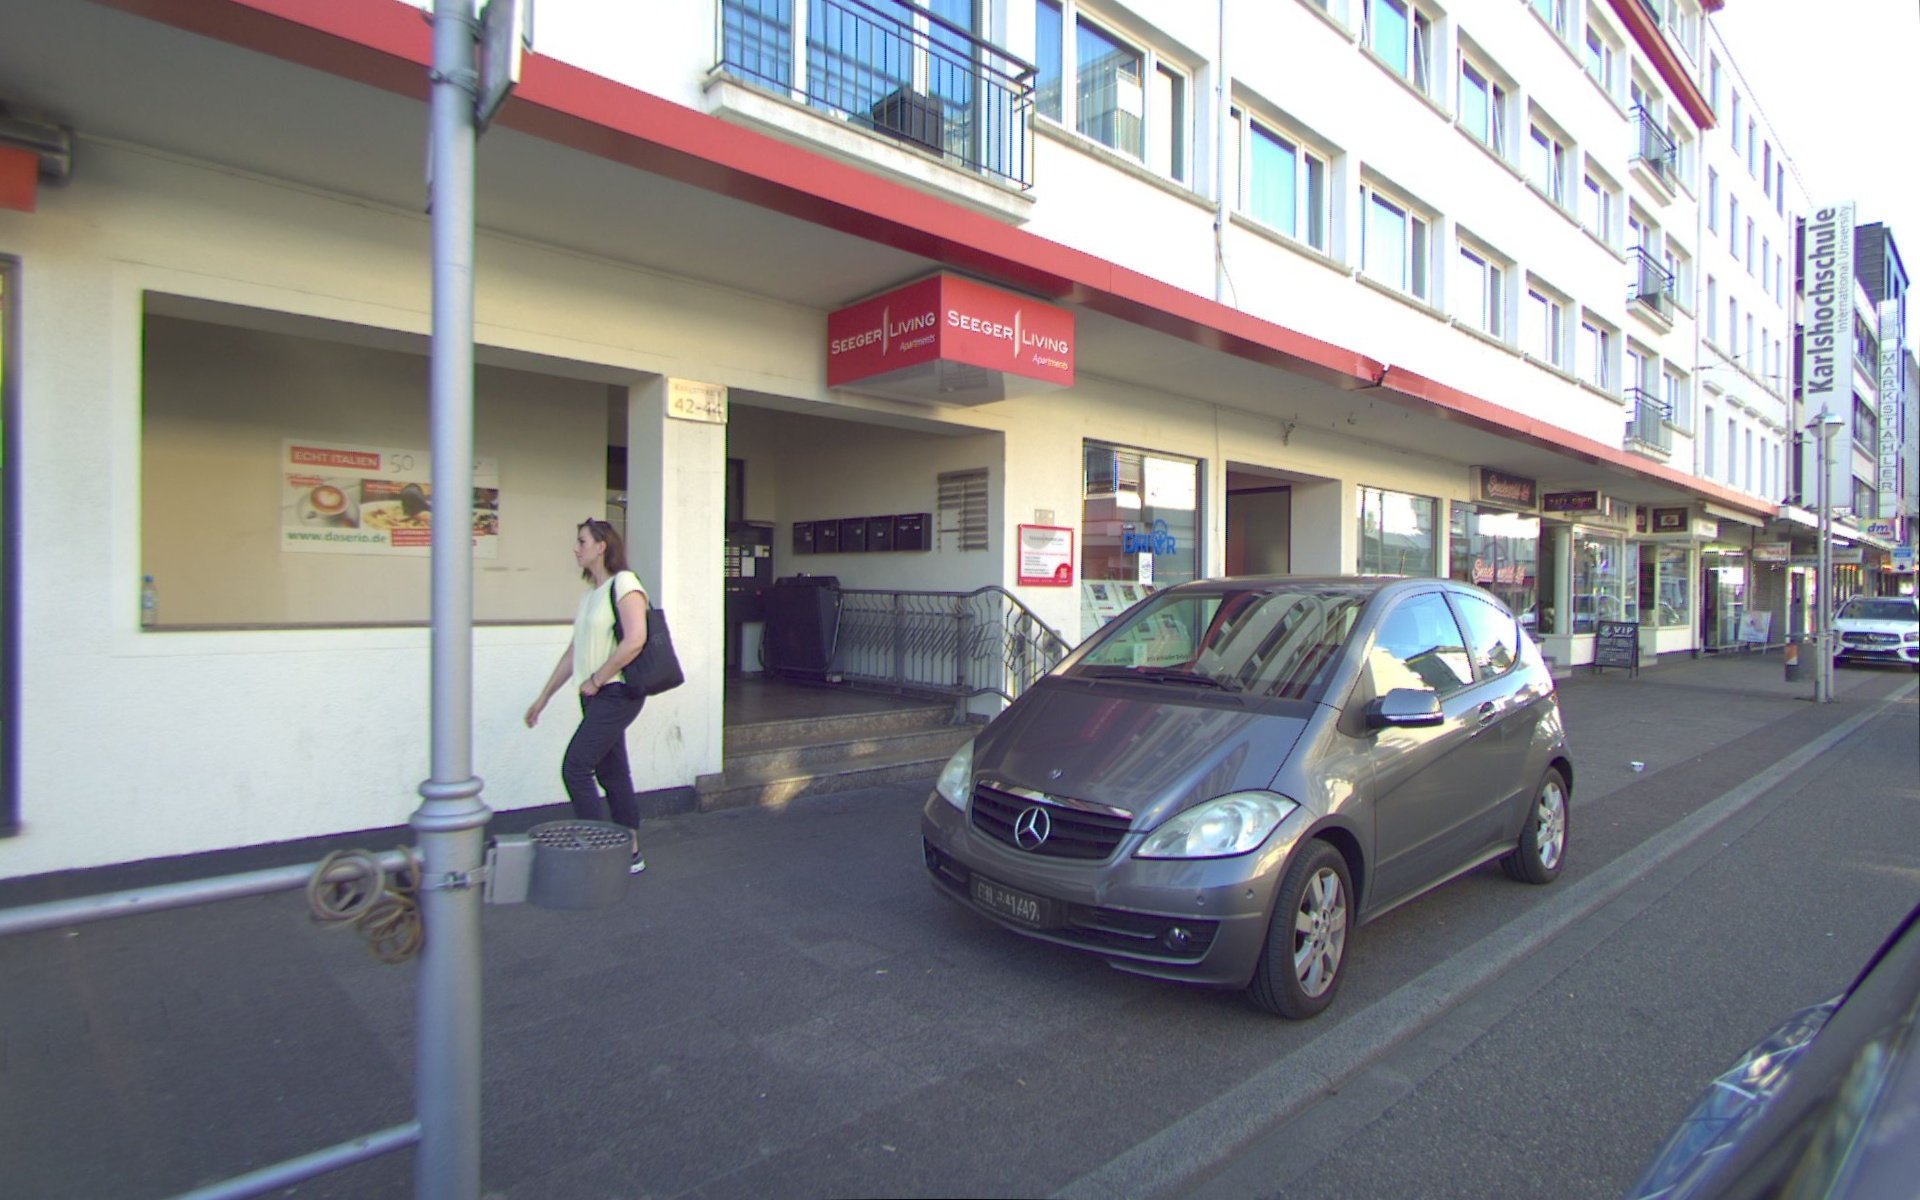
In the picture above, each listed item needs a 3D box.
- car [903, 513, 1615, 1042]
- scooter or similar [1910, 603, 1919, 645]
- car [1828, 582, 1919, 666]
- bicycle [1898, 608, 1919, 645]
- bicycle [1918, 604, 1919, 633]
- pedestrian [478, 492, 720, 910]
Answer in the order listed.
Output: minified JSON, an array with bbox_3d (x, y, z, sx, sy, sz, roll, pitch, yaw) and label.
[{"bbox_3d":[1.670,0.531,5.012,3.586,1.652,1.748,0,1,-42],"label":"car"},{"bbox_3d":[29.258,0.736,30.398,0.314,1.247,0.994,0,2,-43],"label":"scooter or similar"},{"bbox_3d":[21.931,0.488,23.699,5.105,1.745,1.852,-1,3,-43],"label":"car"},{"bbox_3d":[28.894,0.816,30.292,0.314,1.093,1.132,0,2,-43],"label":"bicycle"},{"bbox_3d":[38.966,0.753,39.832,0.658,1.174,1.790,0,1,-42],"label":"bicycle"},{"bbox_3d":[-1.770,0.424,4.944,0.915,1.797,0.805,0,0,-37],"label":"pedestrian"}]
